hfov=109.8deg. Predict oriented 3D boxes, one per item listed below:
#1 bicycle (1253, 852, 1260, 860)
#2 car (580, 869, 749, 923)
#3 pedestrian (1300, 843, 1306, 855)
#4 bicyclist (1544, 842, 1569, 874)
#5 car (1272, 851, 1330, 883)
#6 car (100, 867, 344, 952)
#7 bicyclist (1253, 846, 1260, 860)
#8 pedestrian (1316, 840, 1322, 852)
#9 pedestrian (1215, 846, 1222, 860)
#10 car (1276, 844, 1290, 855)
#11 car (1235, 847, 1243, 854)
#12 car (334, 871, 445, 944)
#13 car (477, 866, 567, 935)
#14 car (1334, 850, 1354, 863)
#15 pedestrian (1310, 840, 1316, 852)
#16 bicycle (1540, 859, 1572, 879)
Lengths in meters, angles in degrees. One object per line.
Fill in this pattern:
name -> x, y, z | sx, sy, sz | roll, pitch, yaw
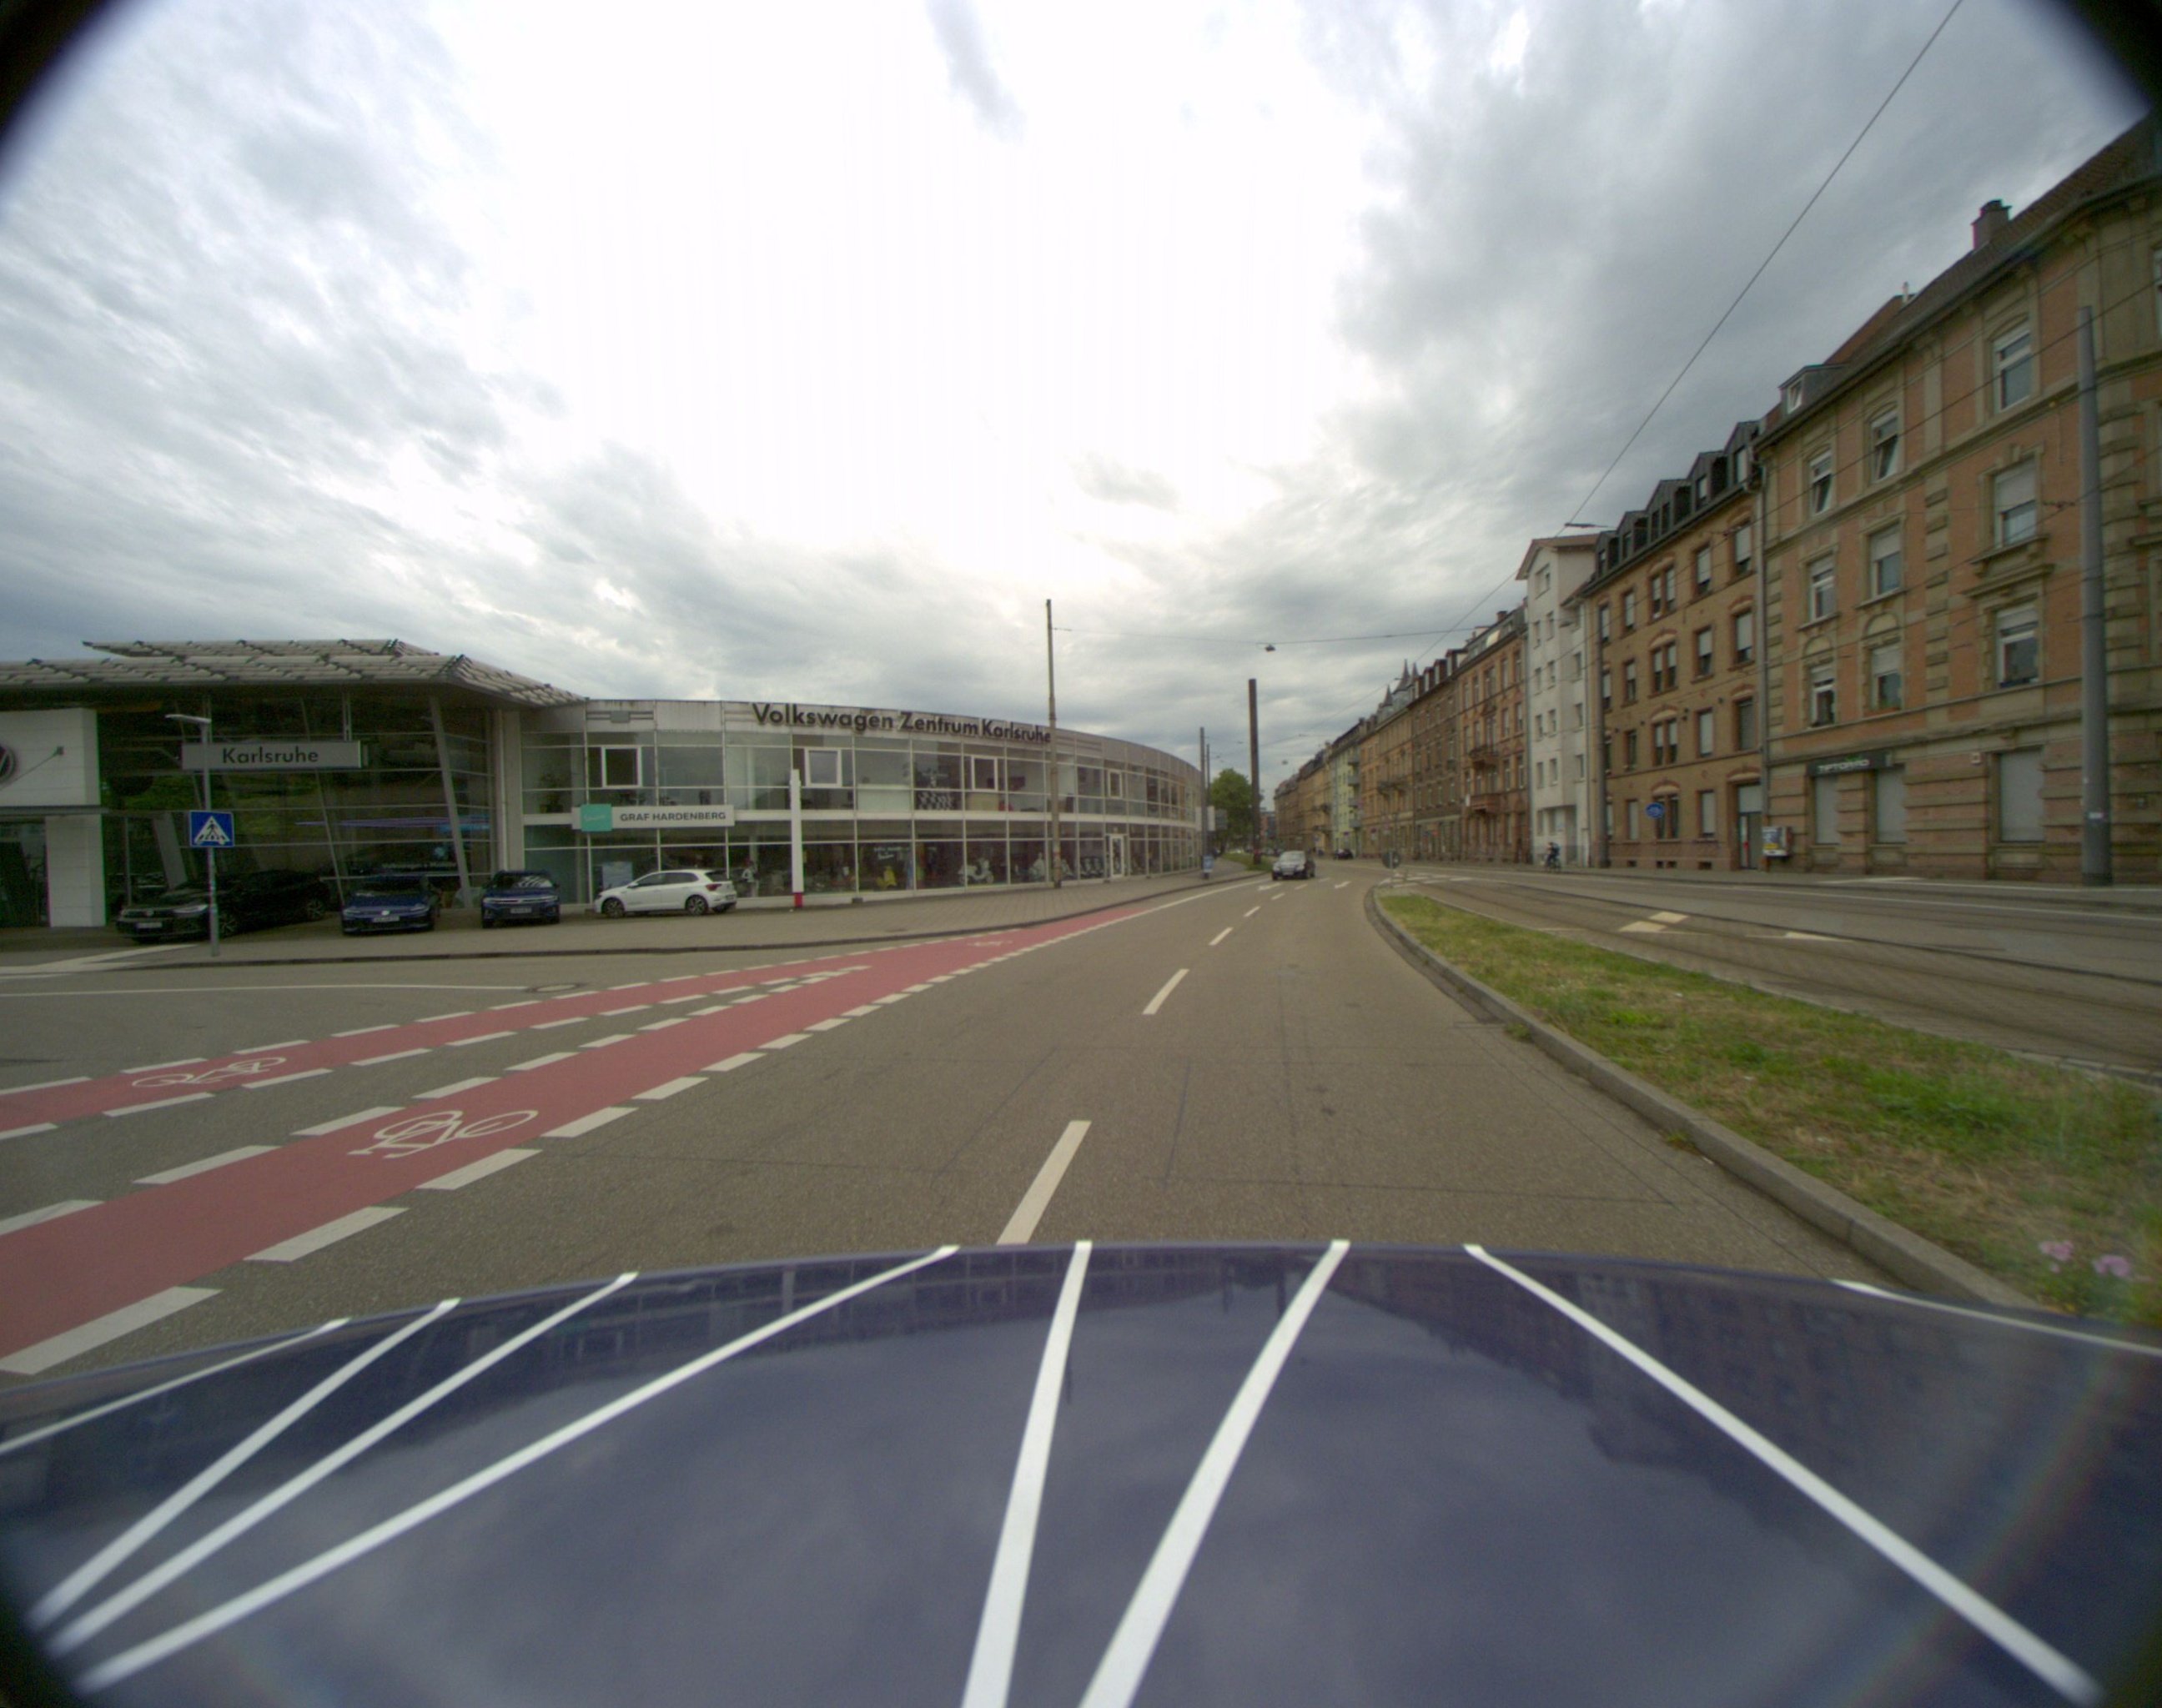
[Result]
bicycle -> 21.601, 0.237, 93.556 | 0.726, 1.003, 2.179 | -1, 1, 16
car -> -13.011, 1.283, 23.921 | 4.260, 1.444, 1.783 | -2, 0, 0
pedestrian -> 40.558, -0.912, 138.911 | 0.814, 2.002, 0.734 | -2, 1, 10
bicyclist -> 22.653, 0.184, 36.221 | 0.662, 1.486, 0.943 | -2, 1, 6
car -> 11.169, 0.628, 38.434 | 1.711, 1.413, 4.077 | -1, 1, 32
car -> -23.138, 1.395, 20.814 | 1.861, 1.624, 4.503 | -3, 4, -9
bicyclist -> 21.599, -0.136, 93.552 | 0.729, 1.747, 0.912 | -1, 1, 16
pedestrian -> 40.287, -1.365, 128.662 | 0.810, 2.002, 0.878 | -2, 1, 10
pedestrian -> 18.300, -0.178, 100.829 | 0.870, 1.843, 0.706 | -2, 1, 10
car -> 33.420, -0.732, 125.848 | 1.801, 1.630, 4.233 | -2, 0, 10
car -> 38.676, -0.763, 185.866 | 1.801, 1.630, 4.233 | -2, 0, 10
car -> -18.969, 1.367, 21.024 | 1.862, 1.496, 4.326 | -3, 4, -38
car -> -16.292, 1.268, 22.224 | 1.905, 1.554, 4.208 | -2, 3, -36
car -> 32.069, 0.265, 92.746 | 1.851, 1.471, 3.831 | -2, 0, 12
pedestrian -> 39.116, -1.327, 128.163 | 0.810, 2.002, 0.700 | -2, 1, 10
bicycle -> 22.667, 0.695, 36.287 | 0.607, 0.910, 1.720 | -2, 0, 5
